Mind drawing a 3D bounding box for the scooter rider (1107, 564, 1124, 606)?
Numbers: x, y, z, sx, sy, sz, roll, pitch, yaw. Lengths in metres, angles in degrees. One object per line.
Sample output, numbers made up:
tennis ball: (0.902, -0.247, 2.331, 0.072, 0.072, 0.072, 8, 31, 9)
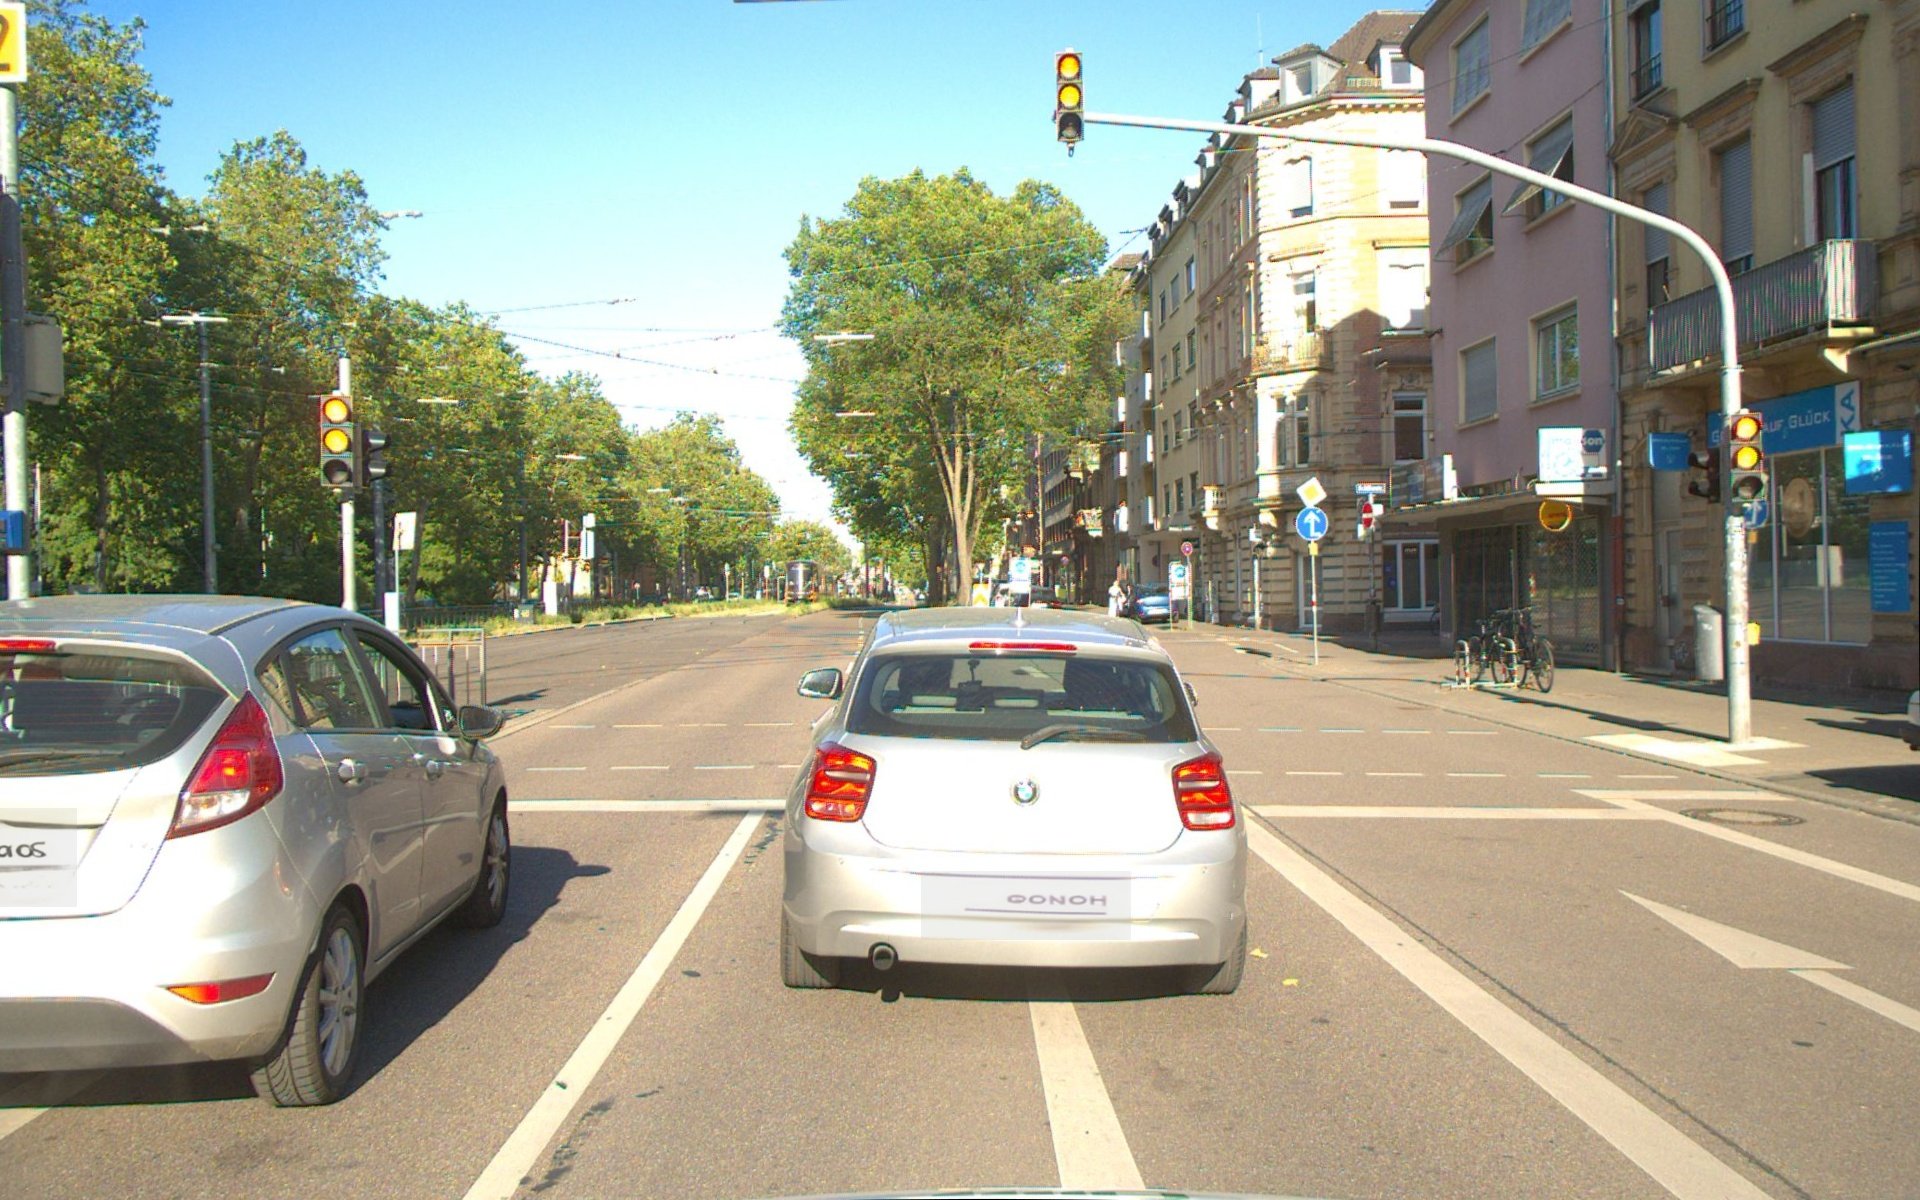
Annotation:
scooter rider: (5.711, -0.542, 60.791, 0.456, 1.531, 0.810, -1, 1, -5)

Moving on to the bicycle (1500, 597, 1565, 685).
bicycle: (8.089, 0.559, 23.409, 0.439, 1.179, 1.759, -1, 1, 5)

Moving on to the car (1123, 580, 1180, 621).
car: (7.372, -0.006, 63.974, 1.700, 1.546, 3.635, 0, 1, -2)

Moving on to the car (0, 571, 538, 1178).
car: (-2.670, 0.664, 6.014, 1.578, 1.493, 3.886, -1, 1, -5)

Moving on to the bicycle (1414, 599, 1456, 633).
bicycle: (13.310, 0.441, 46.348, 0.642, 0.919, 1.331, 0, 1, 41)

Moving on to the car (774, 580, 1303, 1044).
car: (0.225, 0.672, 7.376, 1.705, 1.493, 3.999, 1, 1, -1)

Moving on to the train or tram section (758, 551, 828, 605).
train or tram section: (-12.924, -1.711, 130.039, 3.888, 3.933, 17.486, -1, 1, -1)

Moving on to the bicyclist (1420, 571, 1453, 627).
bicyclist: (13.372, -0.033, 46.407, 0.538, 1.528, 0.956, -1, 0, 40)

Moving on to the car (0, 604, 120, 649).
car: (-29.397, 0.834, 53.753, 1.897, 1.372, 4.847, -1, 0, -2)

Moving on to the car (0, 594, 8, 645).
car: (-29.392, 0.604, 47.680, 1.636, 1.536, 4.143, -1, 1, -2)

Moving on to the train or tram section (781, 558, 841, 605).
train or tram section: (-13.138, -1.661, 147.559, 3.924, 3.933, 17.486, -1, 1, -1)

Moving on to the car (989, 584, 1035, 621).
car: (2.149, 0.088, 69.508, 1.690, 1.533, 3.553, 0, 1, -2)

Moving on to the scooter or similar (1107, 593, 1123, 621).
scooter or similar: (5.693, 0.258, 60.839, 0.331, 1.005, 1.283, -1, 1, -6)

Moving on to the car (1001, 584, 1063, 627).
car: (2.495, 0.178, 58.124, 1.702, 1.458, 3.674, 0, 1, -5)

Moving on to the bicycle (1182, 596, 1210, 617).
bicycle: (9.161, 0.247, 64.369, 0.739, 0.784, 1.944, -1, 1, -2)

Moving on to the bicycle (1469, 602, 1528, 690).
bicycle: (7.600, 0.627, 23.405, 0.405, 1.160, 1.811, 0, 1, 5)

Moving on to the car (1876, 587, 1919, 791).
car: (7.620, 0.613, 10.262, 1.531, 1.440, 4.003, -4, 1, -1)

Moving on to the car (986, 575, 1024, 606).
car: (2.212, -0.481, 82.106, 1.690, 1.533, 3.553, 0, 1, -2)
